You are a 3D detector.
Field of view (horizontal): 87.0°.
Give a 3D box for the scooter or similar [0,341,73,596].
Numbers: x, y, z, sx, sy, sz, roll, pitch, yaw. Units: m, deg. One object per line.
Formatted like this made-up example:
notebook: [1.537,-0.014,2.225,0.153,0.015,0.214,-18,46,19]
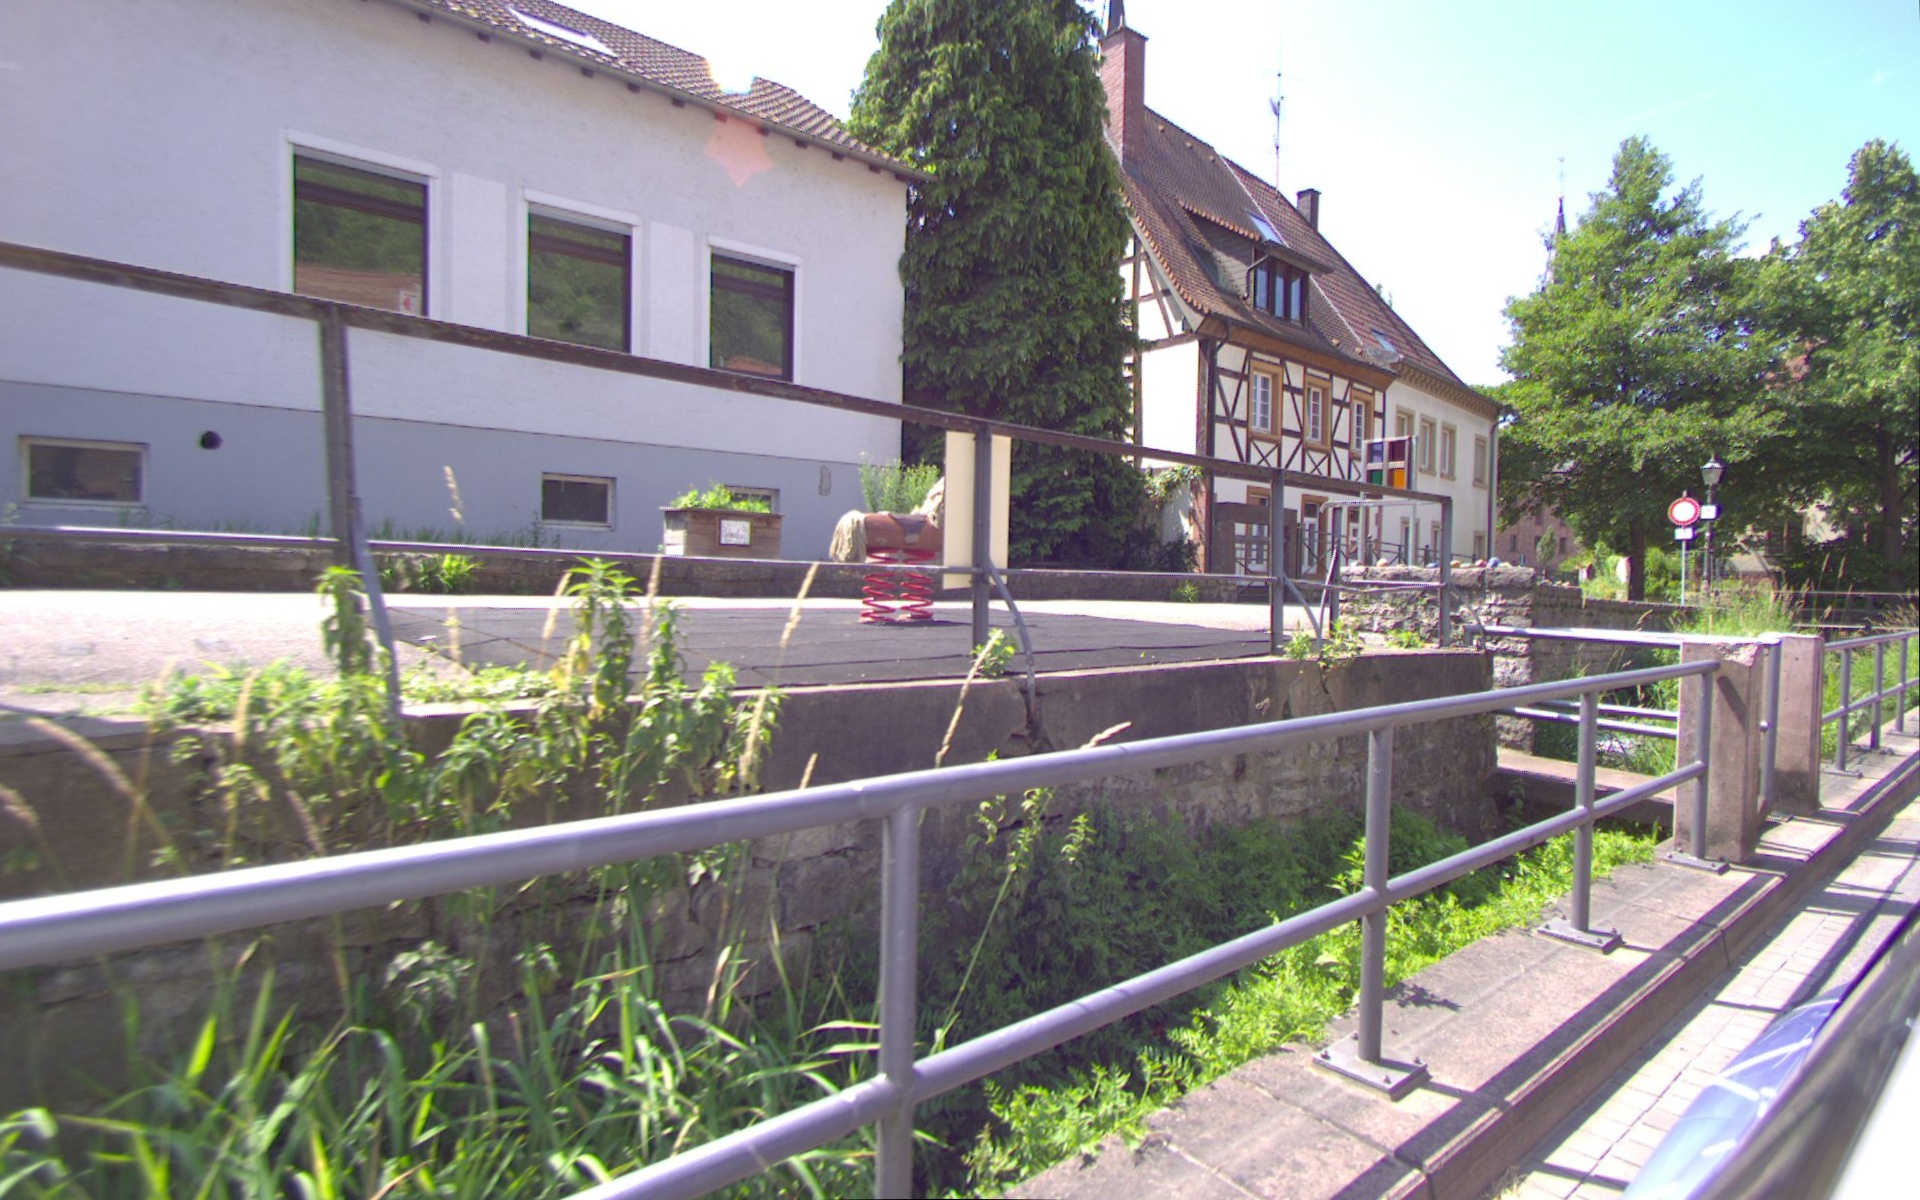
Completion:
scooter or similar: [-5.069,-0.606,4.414,1.779,1.156,0.643,-1,3,-40]
